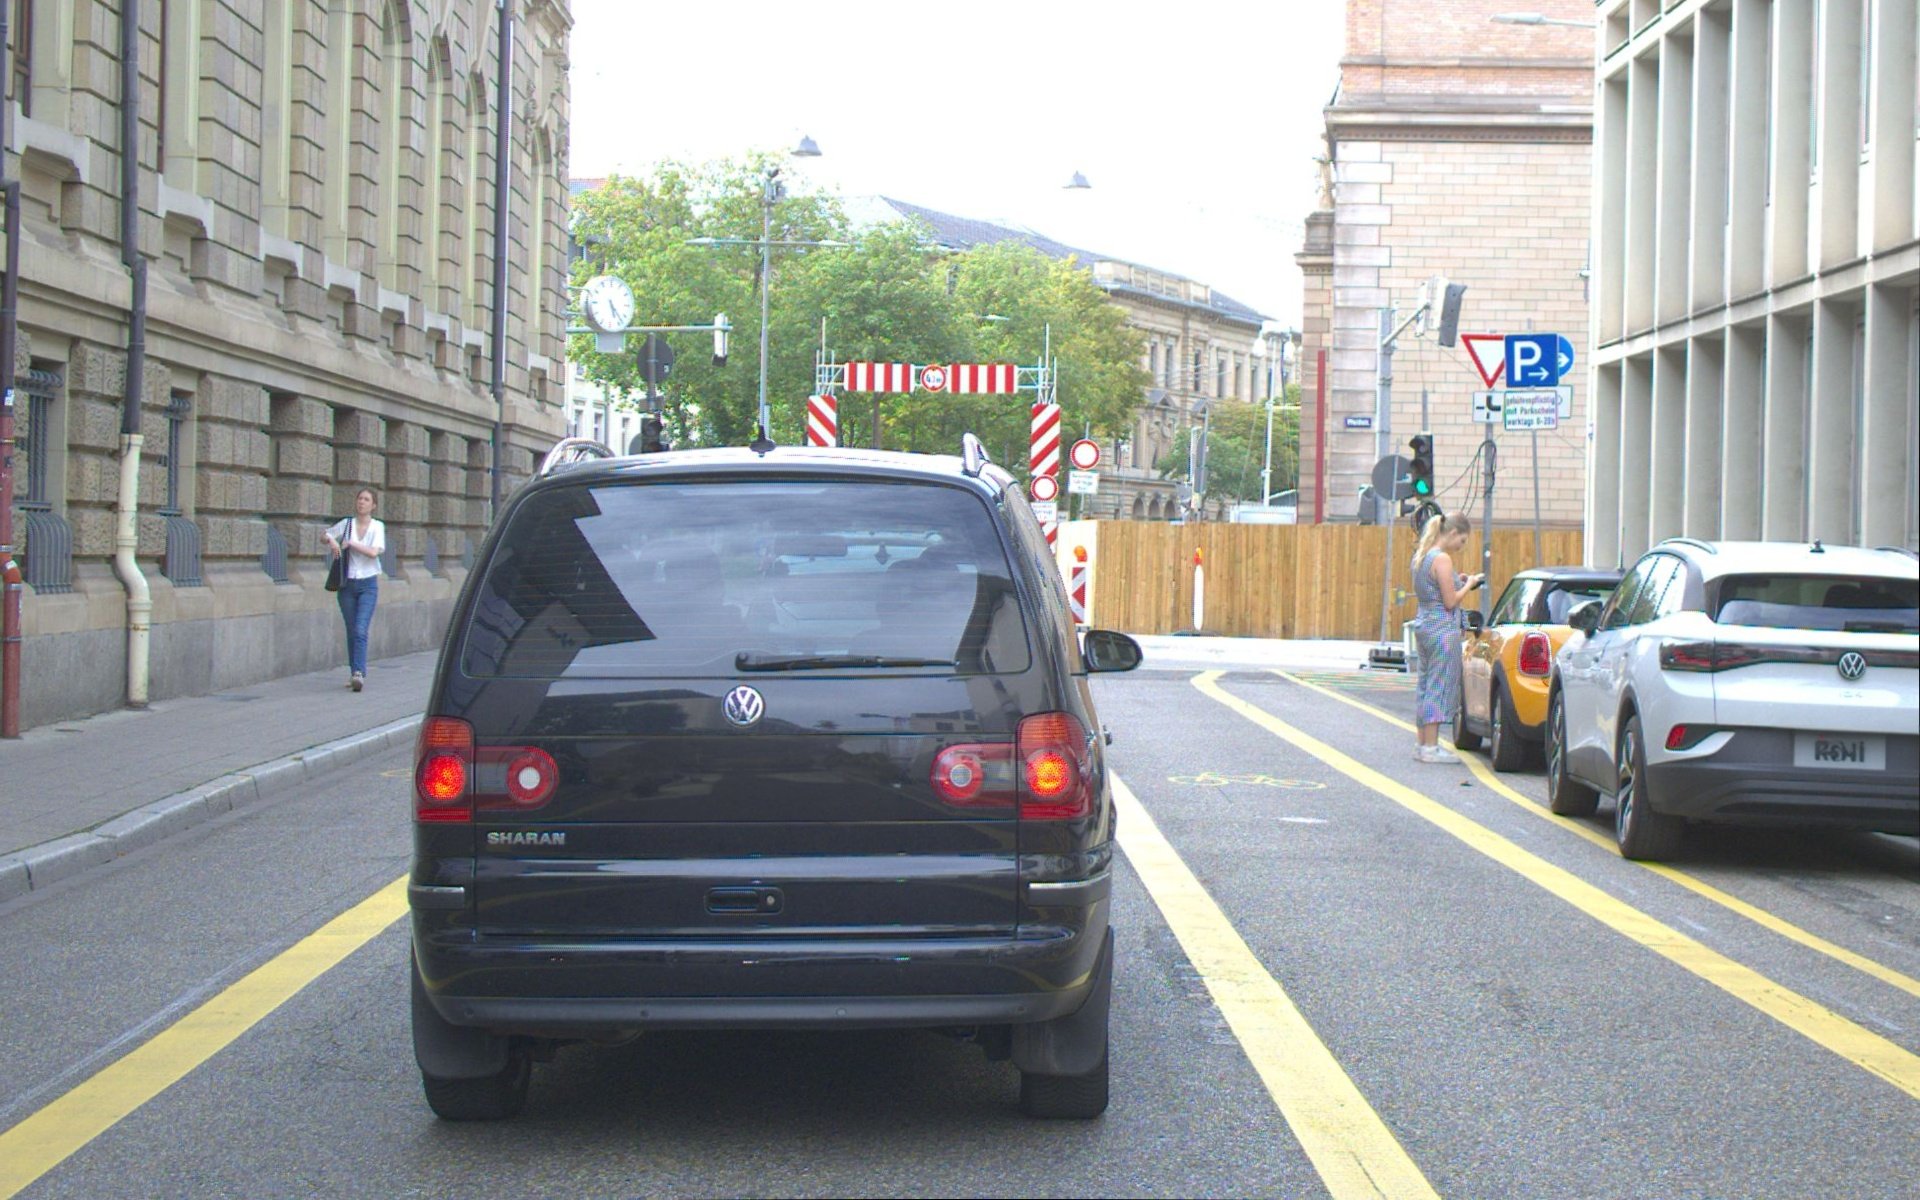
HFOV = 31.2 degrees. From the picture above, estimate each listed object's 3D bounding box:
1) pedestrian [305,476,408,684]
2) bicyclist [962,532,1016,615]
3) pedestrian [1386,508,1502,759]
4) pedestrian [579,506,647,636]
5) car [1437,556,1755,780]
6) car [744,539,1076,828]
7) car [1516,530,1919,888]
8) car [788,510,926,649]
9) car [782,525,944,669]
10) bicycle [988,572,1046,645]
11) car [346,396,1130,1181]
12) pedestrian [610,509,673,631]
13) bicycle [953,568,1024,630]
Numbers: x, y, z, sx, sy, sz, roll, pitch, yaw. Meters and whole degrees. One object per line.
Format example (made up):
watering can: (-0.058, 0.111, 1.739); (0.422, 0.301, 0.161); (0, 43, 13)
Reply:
pedestrian: (-5.423, -0.183, 30.929); (0.664, 1.813, 1.048); (3, 0, -1)
bicyclist: (0.476, -0.443, 57.365); (0.735, 1.371, 0.832); (1, 0, -11)
pedestrian: (3.449, 0.232, 24.541); (0.698, 1.757, 0.706); (1, 0, 0)
pedestrian: (-4.998, -0.416, 49.542); (0.792, 1.813, 1.048); (3, 0, -1)
car: (4.536, 0.437, 25.023); (1.680, 1.430, 3.886); (3, 1, 2)
car: (-0.193, 0.414, 19.977); (1.678, 1.464, 4.103); (1, 1, 2)
car: (4.258, 0.511, 18.507); (1.860, 1.599, 4.512); (4, 1, 2)
car: (-1.458, -0.298, 47.262); (1.734, 1.784, 4.104); (1, 1, -3)
car: (-1.105, -0.055, 40.253); (1.773, 1.580, 4.000); (1, 1, -1)
bicycle: (0.796, 0.110, 48.471); (0.735, 1.005, 2.069); (1, 1, -1)
car: (-0.430, 0.412, 9.898); (1.790, 1.784, 4.103); (0, 1, 2)
pedestrian: (-4.863, -0.463, 52.611); (0.792, 1.813, 1.048); (3, 0, -1)
bicycle: (0.466, -0.026, 57.388); (0.735, 1.005, 2.069); (1, 1, -12)
